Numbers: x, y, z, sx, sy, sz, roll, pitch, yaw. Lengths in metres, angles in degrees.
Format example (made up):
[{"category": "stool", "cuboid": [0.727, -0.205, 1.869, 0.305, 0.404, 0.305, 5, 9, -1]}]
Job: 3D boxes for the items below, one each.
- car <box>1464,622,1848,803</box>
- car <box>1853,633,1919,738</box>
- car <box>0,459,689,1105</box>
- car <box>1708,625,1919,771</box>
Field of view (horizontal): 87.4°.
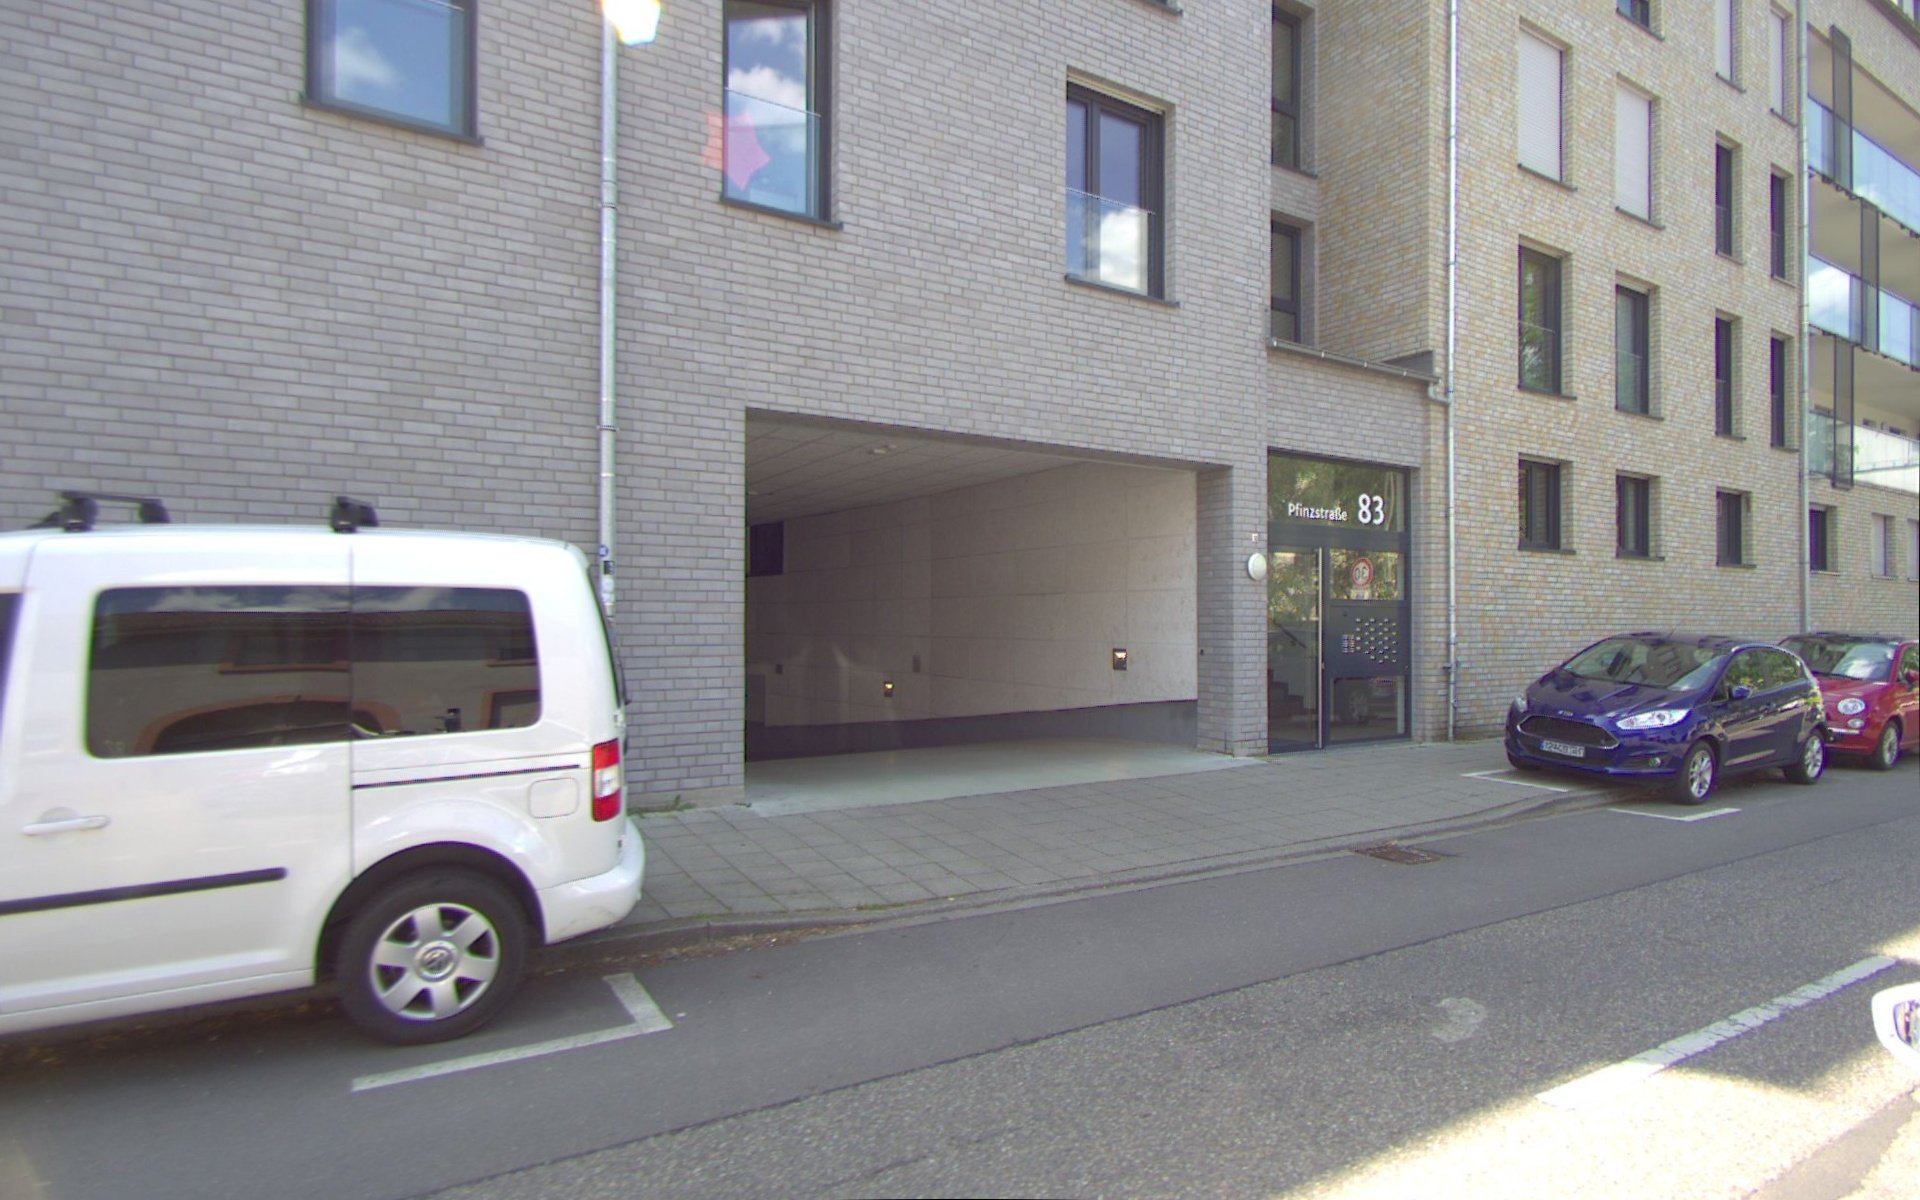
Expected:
[{"category": "car", "cuboid": [7.124, 1.009, 10.209, 3.959, 1.475, 1.714, 1, 0, -31]}, {"category": "car", "cuboid": [15.391, 1.285, 15.393, 3.663, 1.475, 1.582, 1, 0, -32]}, {"category": "car", "cuboid": [-3.355, 0.518, 3.674, 4.282, 1.917, 1.750, 1, 1, -28]}, {"category": "car", "cuboid": [11.135, 1.134, 12.678, 3.532, 1.574, 1.582, 1, -1, -32]}]
